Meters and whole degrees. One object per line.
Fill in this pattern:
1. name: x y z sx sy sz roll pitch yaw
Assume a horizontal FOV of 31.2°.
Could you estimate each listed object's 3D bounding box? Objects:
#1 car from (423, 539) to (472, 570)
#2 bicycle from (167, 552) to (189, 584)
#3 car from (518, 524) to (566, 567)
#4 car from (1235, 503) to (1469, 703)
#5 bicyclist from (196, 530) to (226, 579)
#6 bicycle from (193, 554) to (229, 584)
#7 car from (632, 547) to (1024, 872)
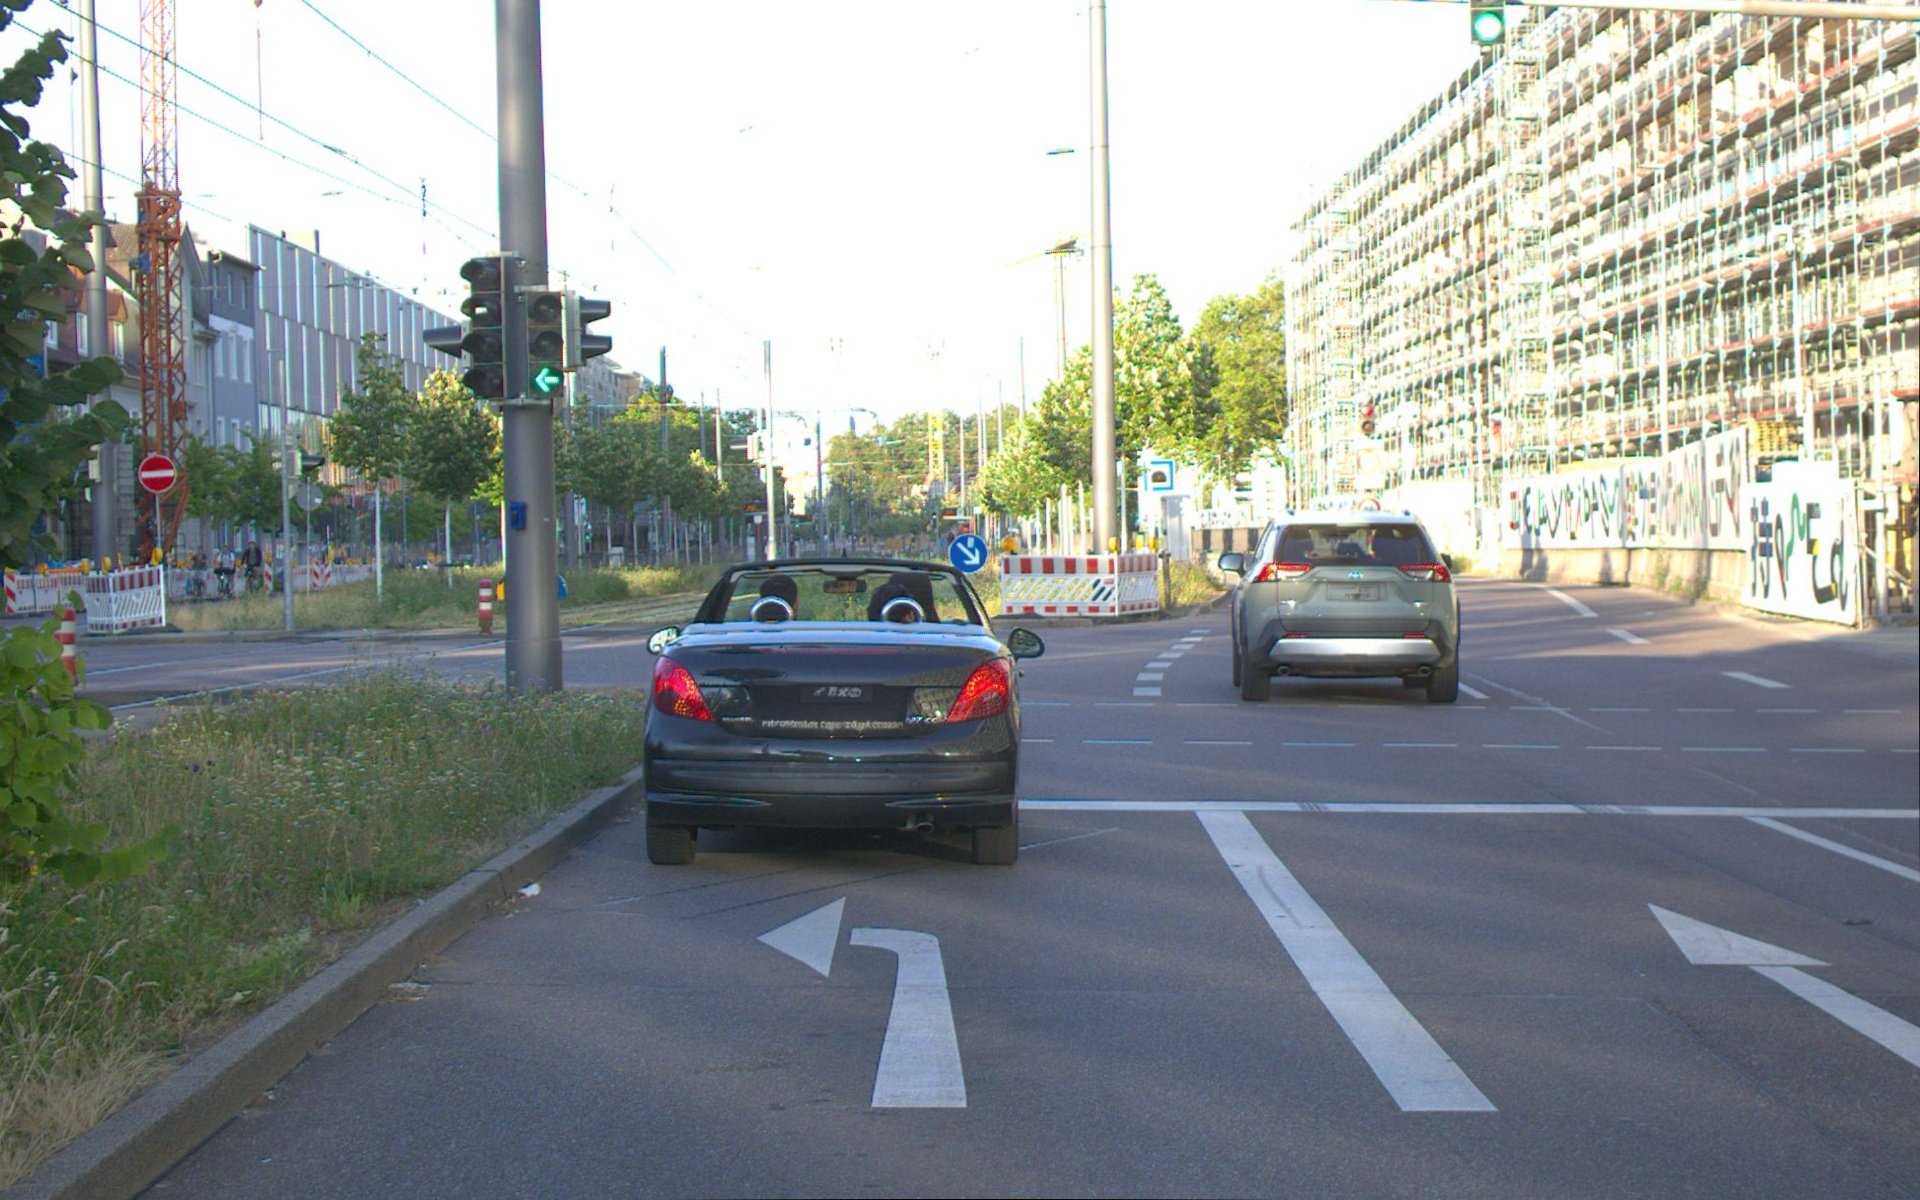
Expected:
1. car: -24.332 -2.174 163.167 1.658 1.426 3.895 1 1 1
2. bicycle: -24.552 -1.007 107.941 0.589 0.985 1.556 1 1 -10
3. car: -19.810 -2.599 163.086 1.658 1.957 4.266 1 1 1
4. car: 3.435 -0.033 30.799 1.834 1.667 4.282 0 2 3
5. bicyclist: -24.297 -1.479 111.581 0.772 1.565 0.793 1 1 1
6. bicycle: -24.307 -1.013 111.590 0.772 0.942 1.640 1 1 1
7. car: -0.587 0.438 16.682 1.674 1.347 4.000 0 1 -1
